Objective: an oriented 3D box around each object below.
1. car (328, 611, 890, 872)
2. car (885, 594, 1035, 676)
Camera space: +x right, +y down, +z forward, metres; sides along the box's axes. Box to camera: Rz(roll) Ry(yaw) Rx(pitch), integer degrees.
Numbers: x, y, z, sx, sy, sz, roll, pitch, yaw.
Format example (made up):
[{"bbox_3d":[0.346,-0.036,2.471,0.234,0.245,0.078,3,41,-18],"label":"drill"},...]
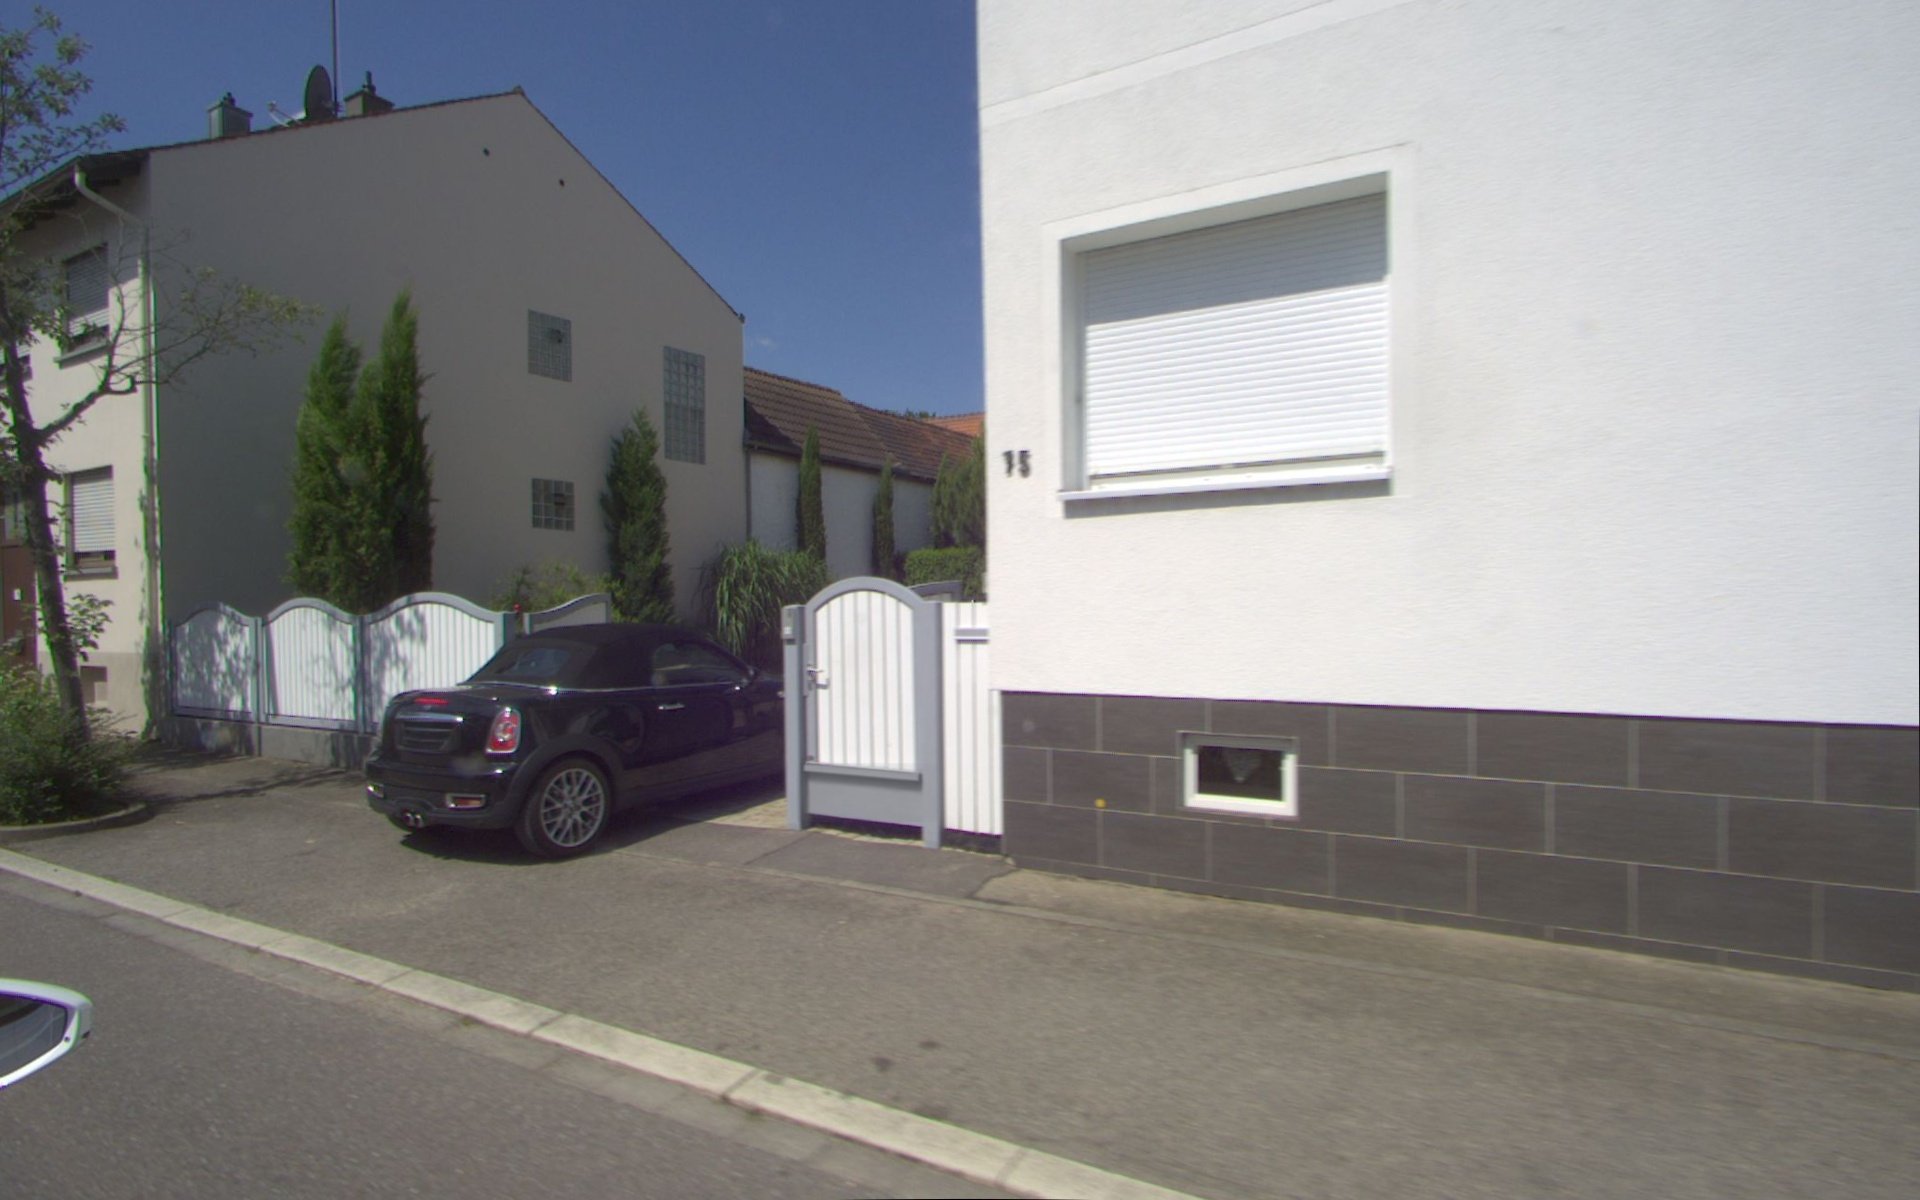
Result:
[{"bbox_3d":[-2.363,0.822,7.729,1.715,1.433,3.916,-1,0,31],"label":"car"},{"bbox_3d":[-0.104,0.651,20.008,1.625,1.454,3.923,0,0,-22],"label":"car"}]
